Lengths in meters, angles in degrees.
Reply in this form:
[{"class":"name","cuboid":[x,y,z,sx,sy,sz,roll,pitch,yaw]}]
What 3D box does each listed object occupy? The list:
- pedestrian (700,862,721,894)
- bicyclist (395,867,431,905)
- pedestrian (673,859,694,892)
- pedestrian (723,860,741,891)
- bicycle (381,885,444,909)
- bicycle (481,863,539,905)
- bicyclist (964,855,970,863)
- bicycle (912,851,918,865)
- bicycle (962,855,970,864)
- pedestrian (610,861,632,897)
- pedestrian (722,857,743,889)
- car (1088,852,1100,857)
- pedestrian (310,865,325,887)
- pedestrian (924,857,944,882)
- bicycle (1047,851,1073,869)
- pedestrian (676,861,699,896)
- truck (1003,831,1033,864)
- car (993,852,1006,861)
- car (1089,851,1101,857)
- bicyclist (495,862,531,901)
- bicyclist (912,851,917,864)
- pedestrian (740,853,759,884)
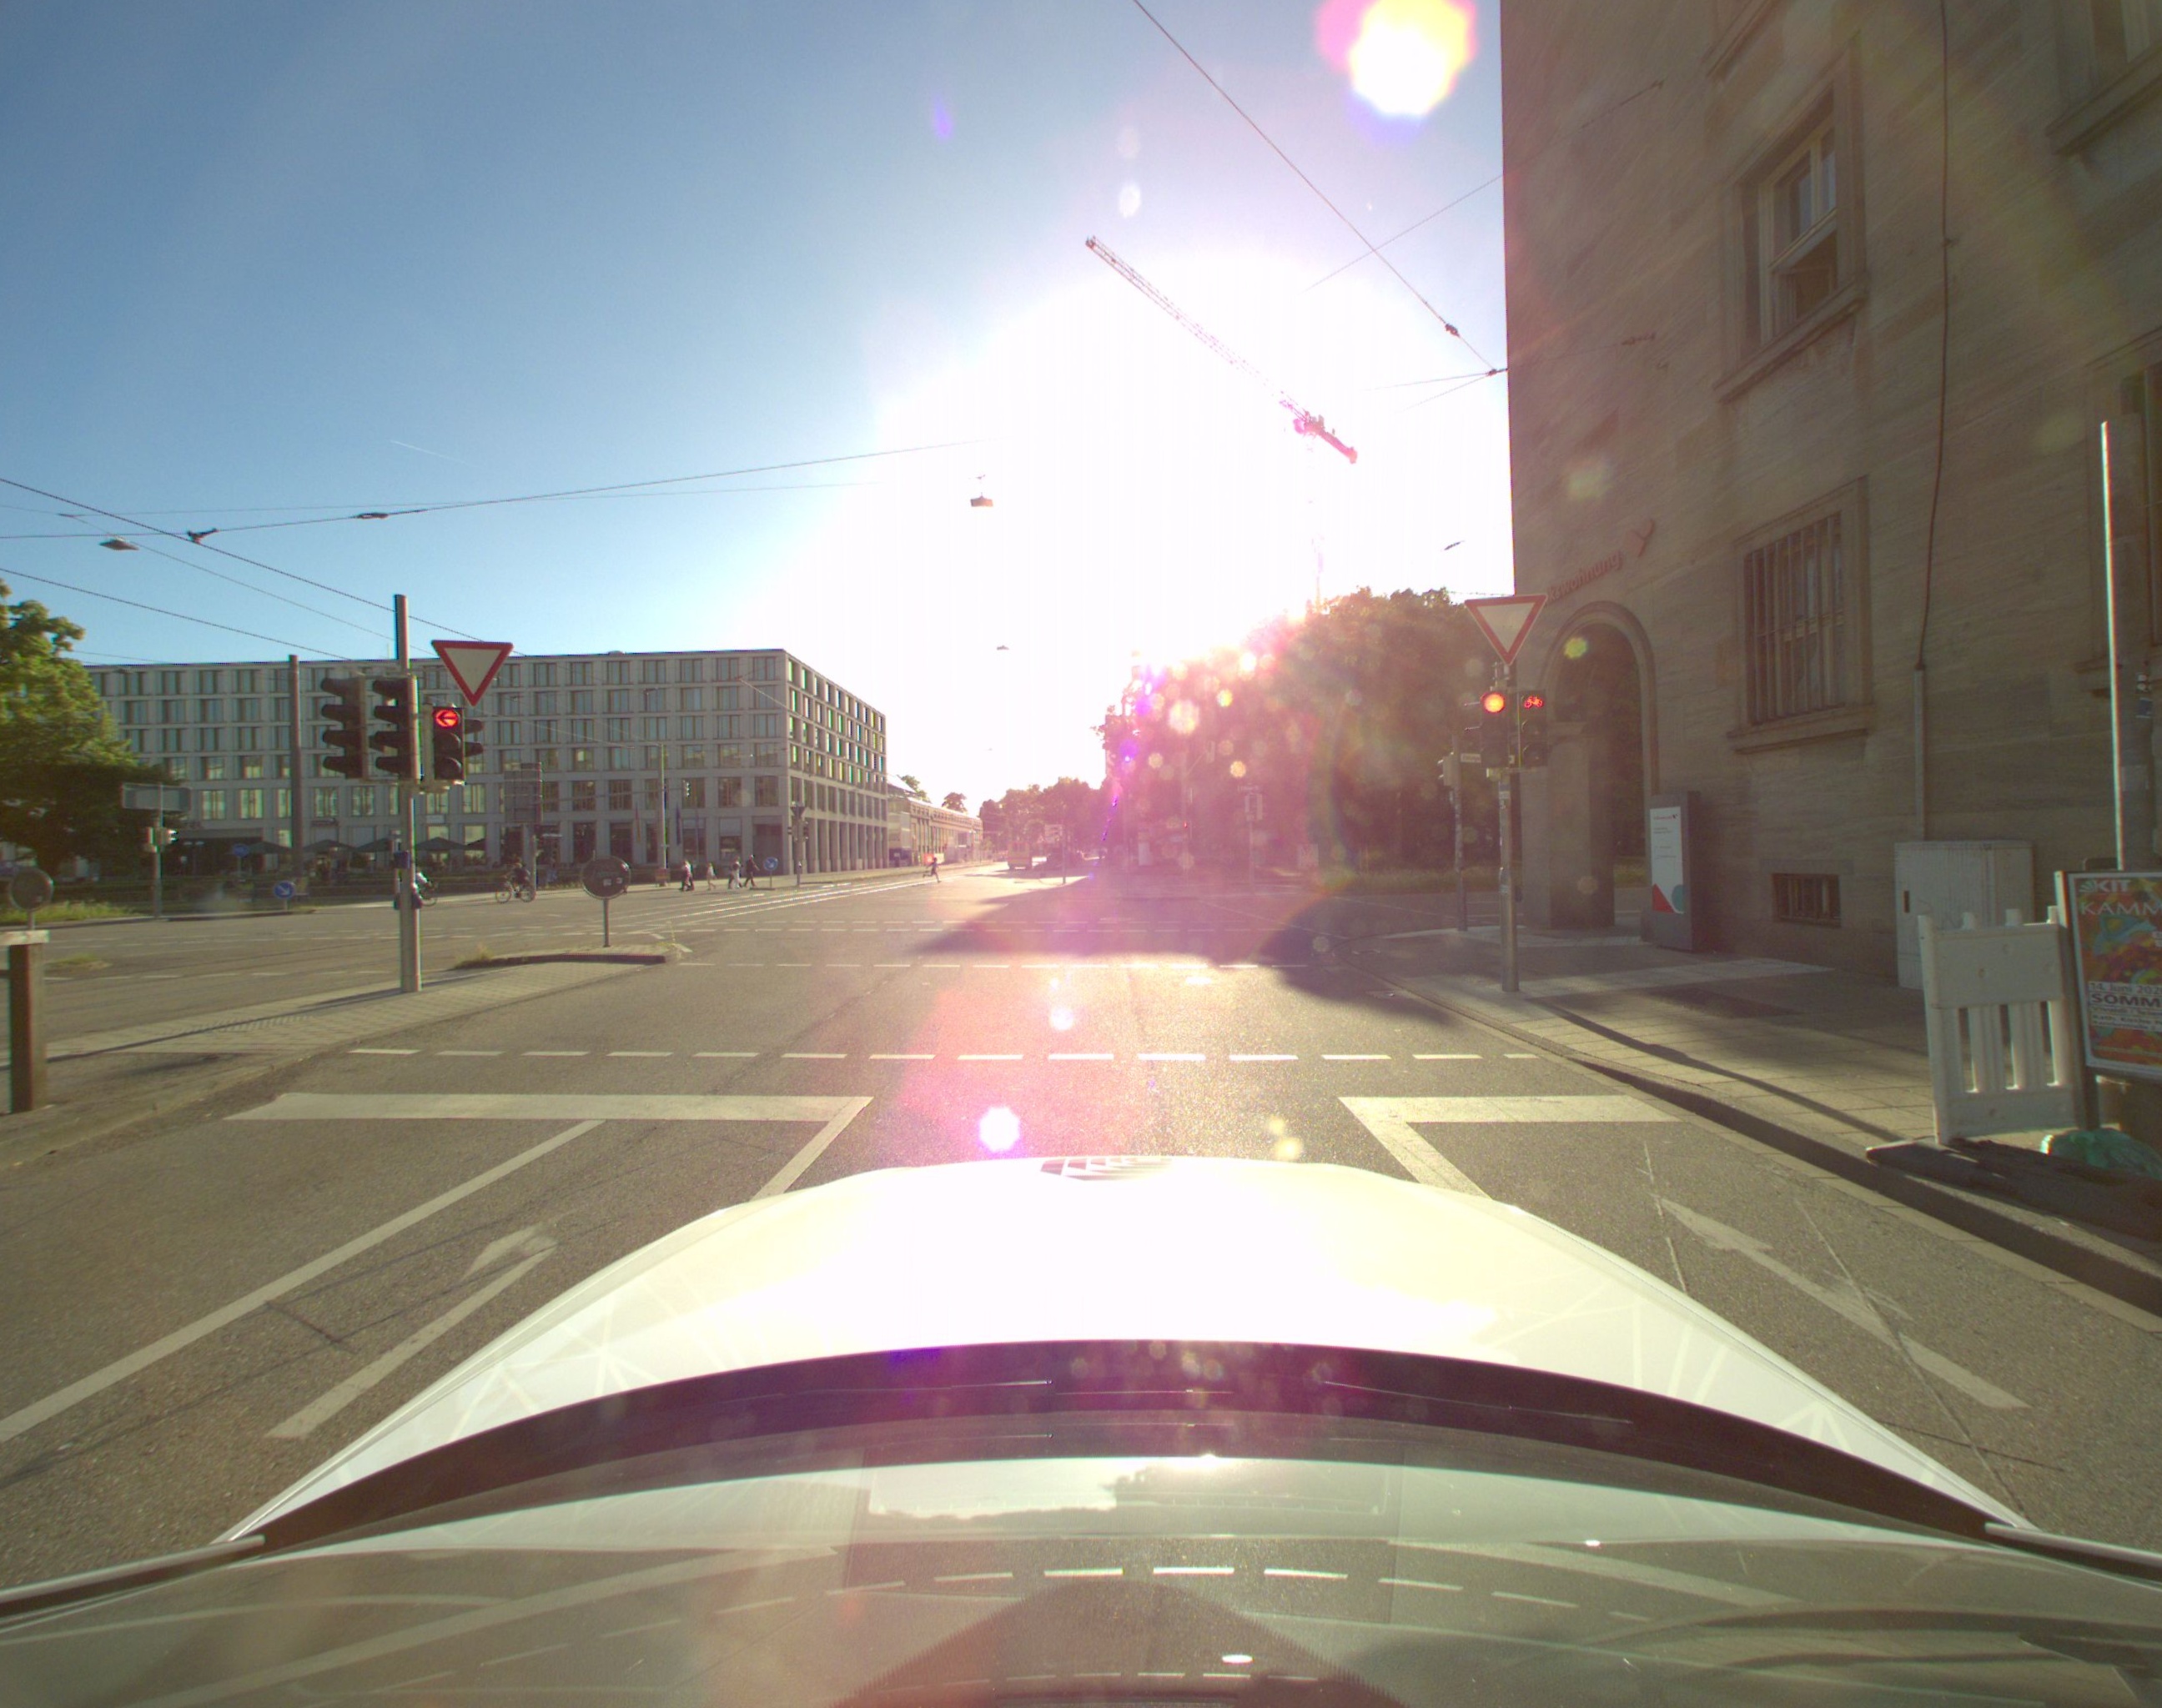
[{"class":"pedestrian","cuboid":[-20.771,1.342,45.674,0.865,1.803,0.533,-2,0,7]},{"class":"bicyclist","cuboid":[-28.681,1.355,34.974,0.975,1.560,0.572,-2,0,-12]},{"class":"pedestrian","cuboid":[-22.188,1.204,45.470,0.735,1.803,0.717,-2,0,7]},{"class":"pedestrian","cuboid":[-19.118,1.162,44.630,0.691,1.644,0.622,-2,0,2]},{"class":"bicycle","cuboid":[-28.696,1.824,34.990,2.064,0.933,0.573,-2,0,-9]},{"class":"bicycle","cuboid":[-24.518,1.279,34.989,1.900,1.735,0.594,-2,0,-15]},{"class":"bicyclist","cuboid":[-19.090,0.794,136.198,0.686,1.328,1.001,0,-1,4]},{"class":"bicycle","cuboid":[-26.754,0.632,131.205,0.569,2.296,1.422,-2,0,0]},{"class":"bicycle","cuboid":[-19.139,0.896,136.128,0.686,1.511,2.948,0,-1,4]},{"class":"pedestrian","cuboid":[-24.760,1.339,43.833,0.797,1.918,0.638,-2,0,7]},{"class":"pedestrian","cuboid":[-18.161,0.987,42.495,0.790,1.644,0.621,-2,0,-3]},{"class":"car","cuboid":[3.322,0.070,211.422,3.207,1.263,1.373,0,-1,0]},{"class":"pedestrian","cuboid":[-57.475,1.645,61.302,0.538,1.669,0.561,0,-1,-2]},{"class":"pedestrian","cuboid":[-7.873,0.835,43.632,0.992,1.317,0.765,-2,0,-6]},{"class":"bicycle","cuboid":[-2.082,0.600,81.631,2.538,1.744,1.038,0,-1,1]},{"class":"pedestrian","cuboid":[-21.325,1.322,44.147,0.865,1.803,0.665,-2,0,7]},{"class":"truck","cuboid":[-6.051,-0.585,78.732,2.711,3.016,6.480,-1,0,-4]},{"class":"car","cuboid":[-15.730,0.449,157.027,1.888,1.607,4.499,-2,0,0]},{"class":"car","cuboid":[3.672,-0.088,213.646,3.207,1.588,1.445,0,-1,-3]},{"class":"bicyclist","cuboid":[-24.423,1.169,35.015,1.076,1.641,0.594,-2,0,-15]},{"class":"bicyclist","cuboid":[-26.756,0.517,131.145,0.569,2.024,0.762,-2,0,0]},{"class":"pedestrian","cuboid":[-18.707,0.814,45.970,0.744,1.761,0.679,-2,-1,6]}]
